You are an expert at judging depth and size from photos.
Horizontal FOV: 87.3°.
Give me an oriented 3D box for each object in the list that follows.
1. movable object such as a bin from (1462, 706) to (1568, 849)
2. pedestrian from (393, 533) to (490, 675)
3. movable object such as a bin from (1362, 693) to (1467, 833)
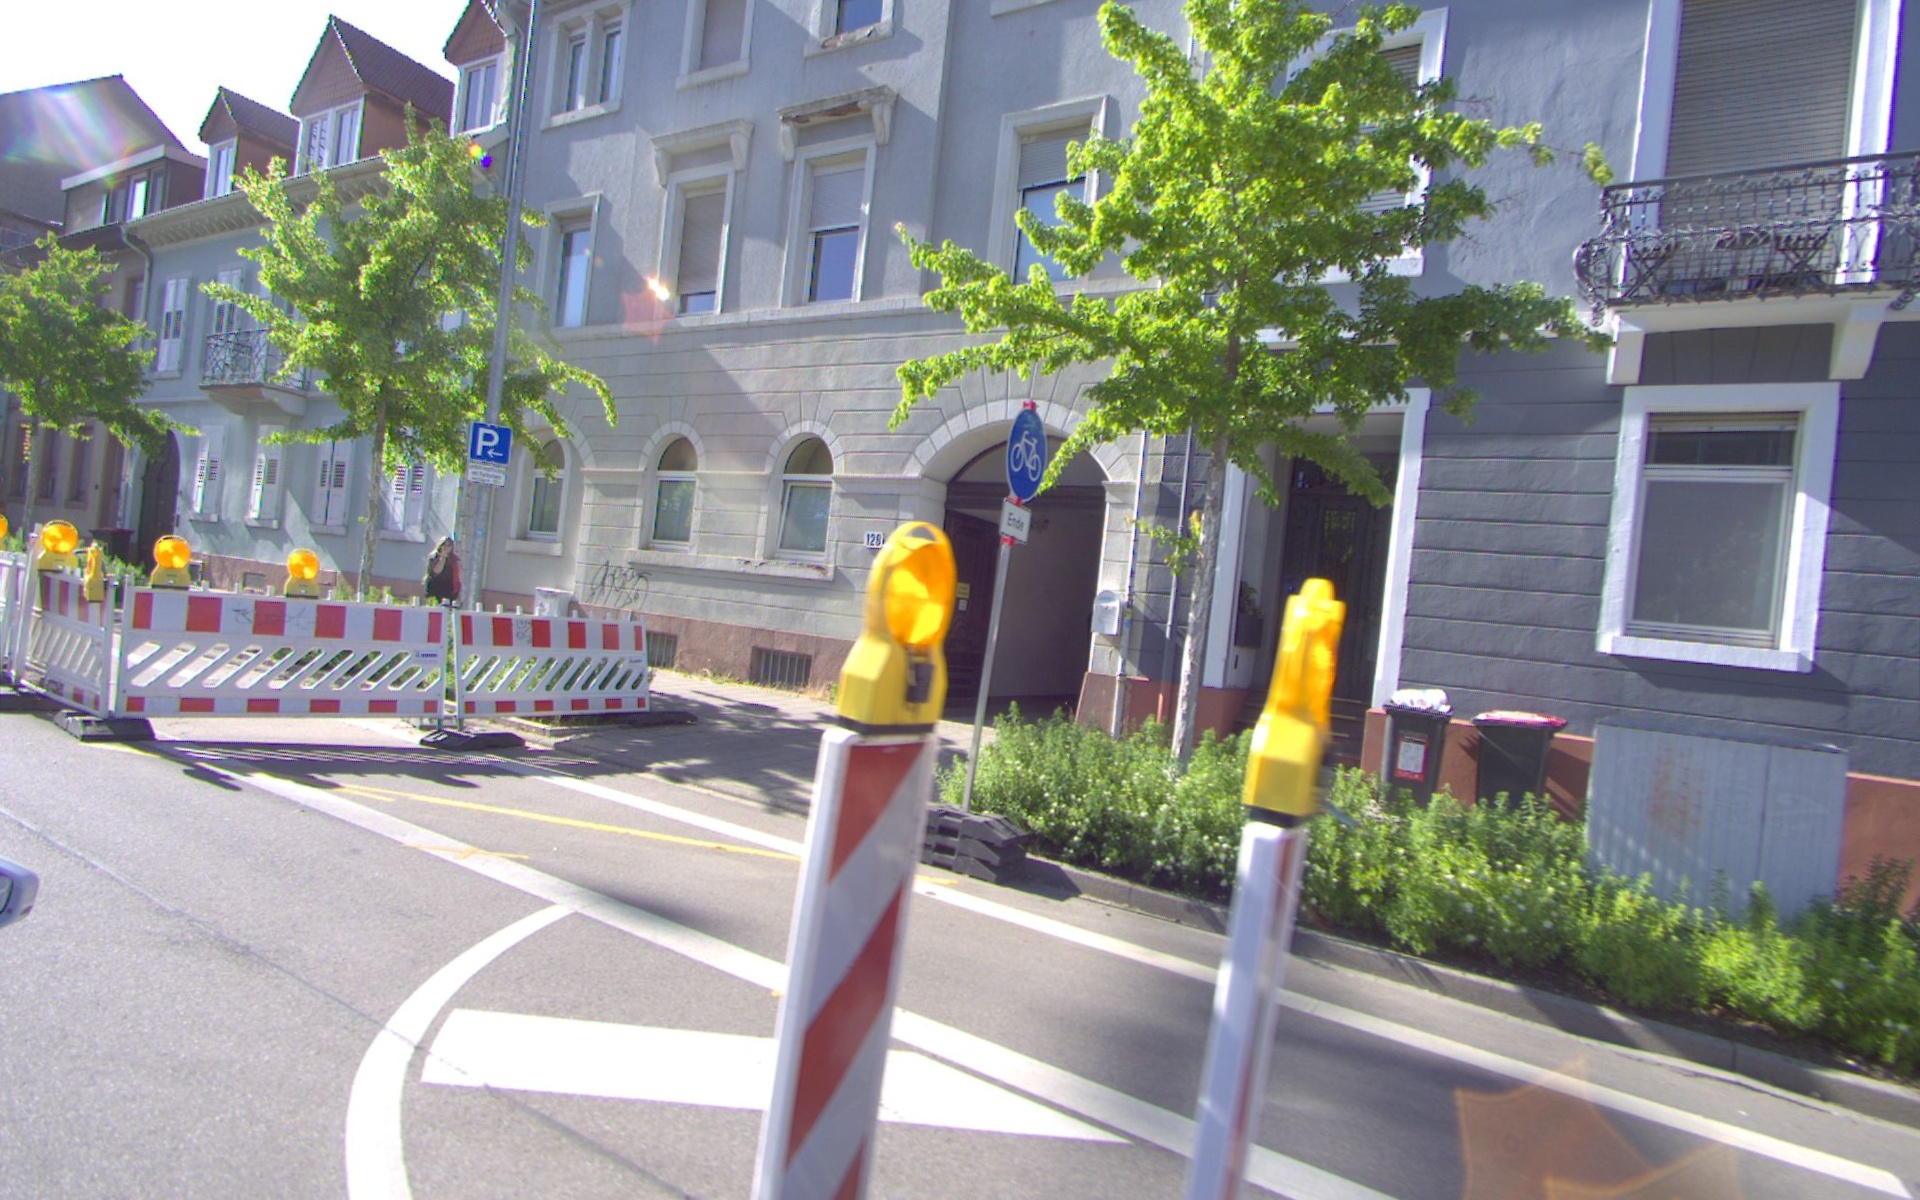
[{"bbox_3d":[4.897,1.534,8.862,0.692,1.095,0.604,6,-1,32],"label":"movable object such as a bin"},{"bbox_3d":[-7.601,0.062,14.755,0.758,1.951,0.794,6,-1,34],"label":"pedestrian"},{"bbox_3d":[4.133,1.457,9.146,0.692,1.121,0.589,6,-1,32],"label":"movable object such as a bin"}]
